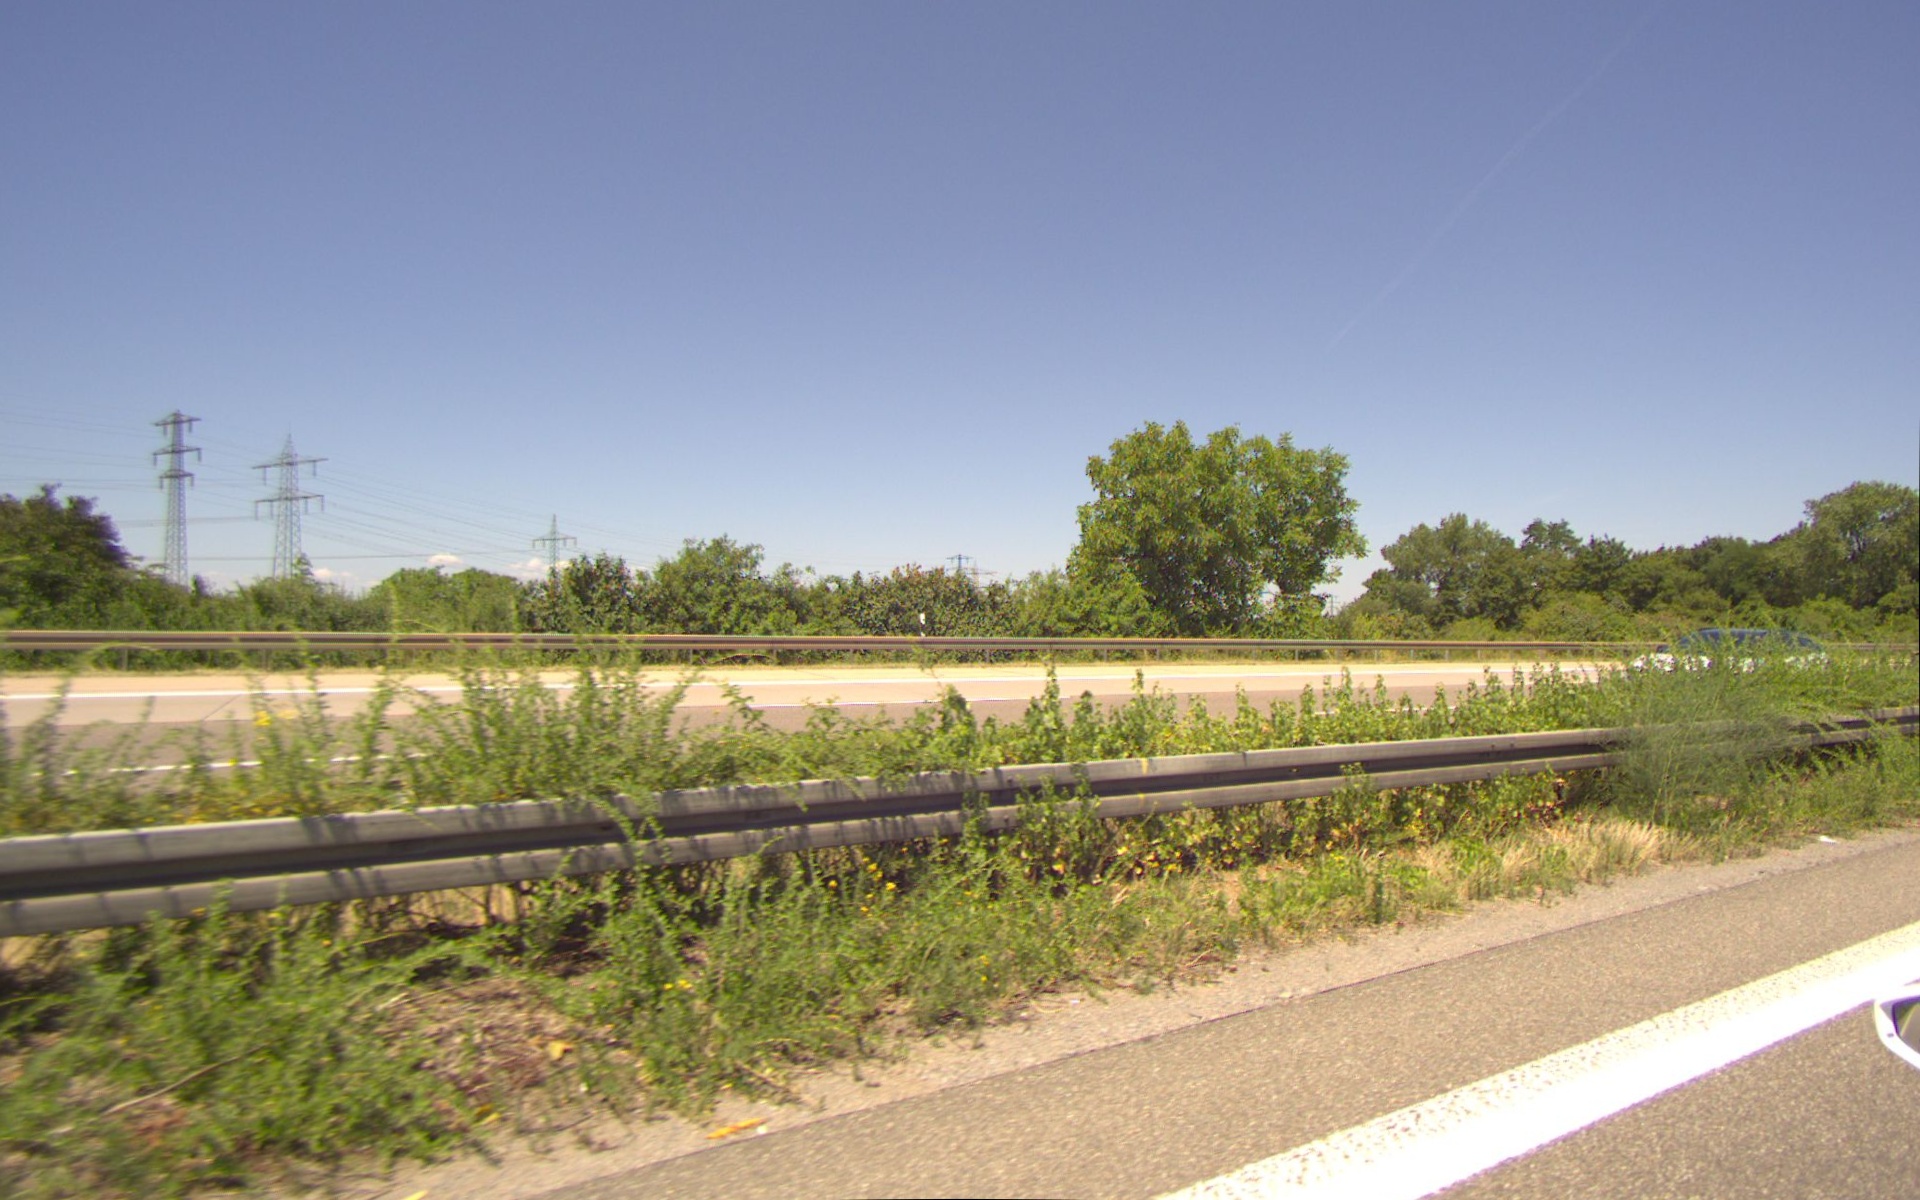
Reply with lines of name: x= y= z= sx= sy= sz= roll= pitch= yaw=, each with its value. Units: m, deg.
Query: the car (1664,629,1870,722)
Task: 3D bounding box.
car: x=15.846 y=1.426 z=19.673 sx=4.356 sy=1.581 sz=1.800 roll=2 pitch=-1 yaw=-32
